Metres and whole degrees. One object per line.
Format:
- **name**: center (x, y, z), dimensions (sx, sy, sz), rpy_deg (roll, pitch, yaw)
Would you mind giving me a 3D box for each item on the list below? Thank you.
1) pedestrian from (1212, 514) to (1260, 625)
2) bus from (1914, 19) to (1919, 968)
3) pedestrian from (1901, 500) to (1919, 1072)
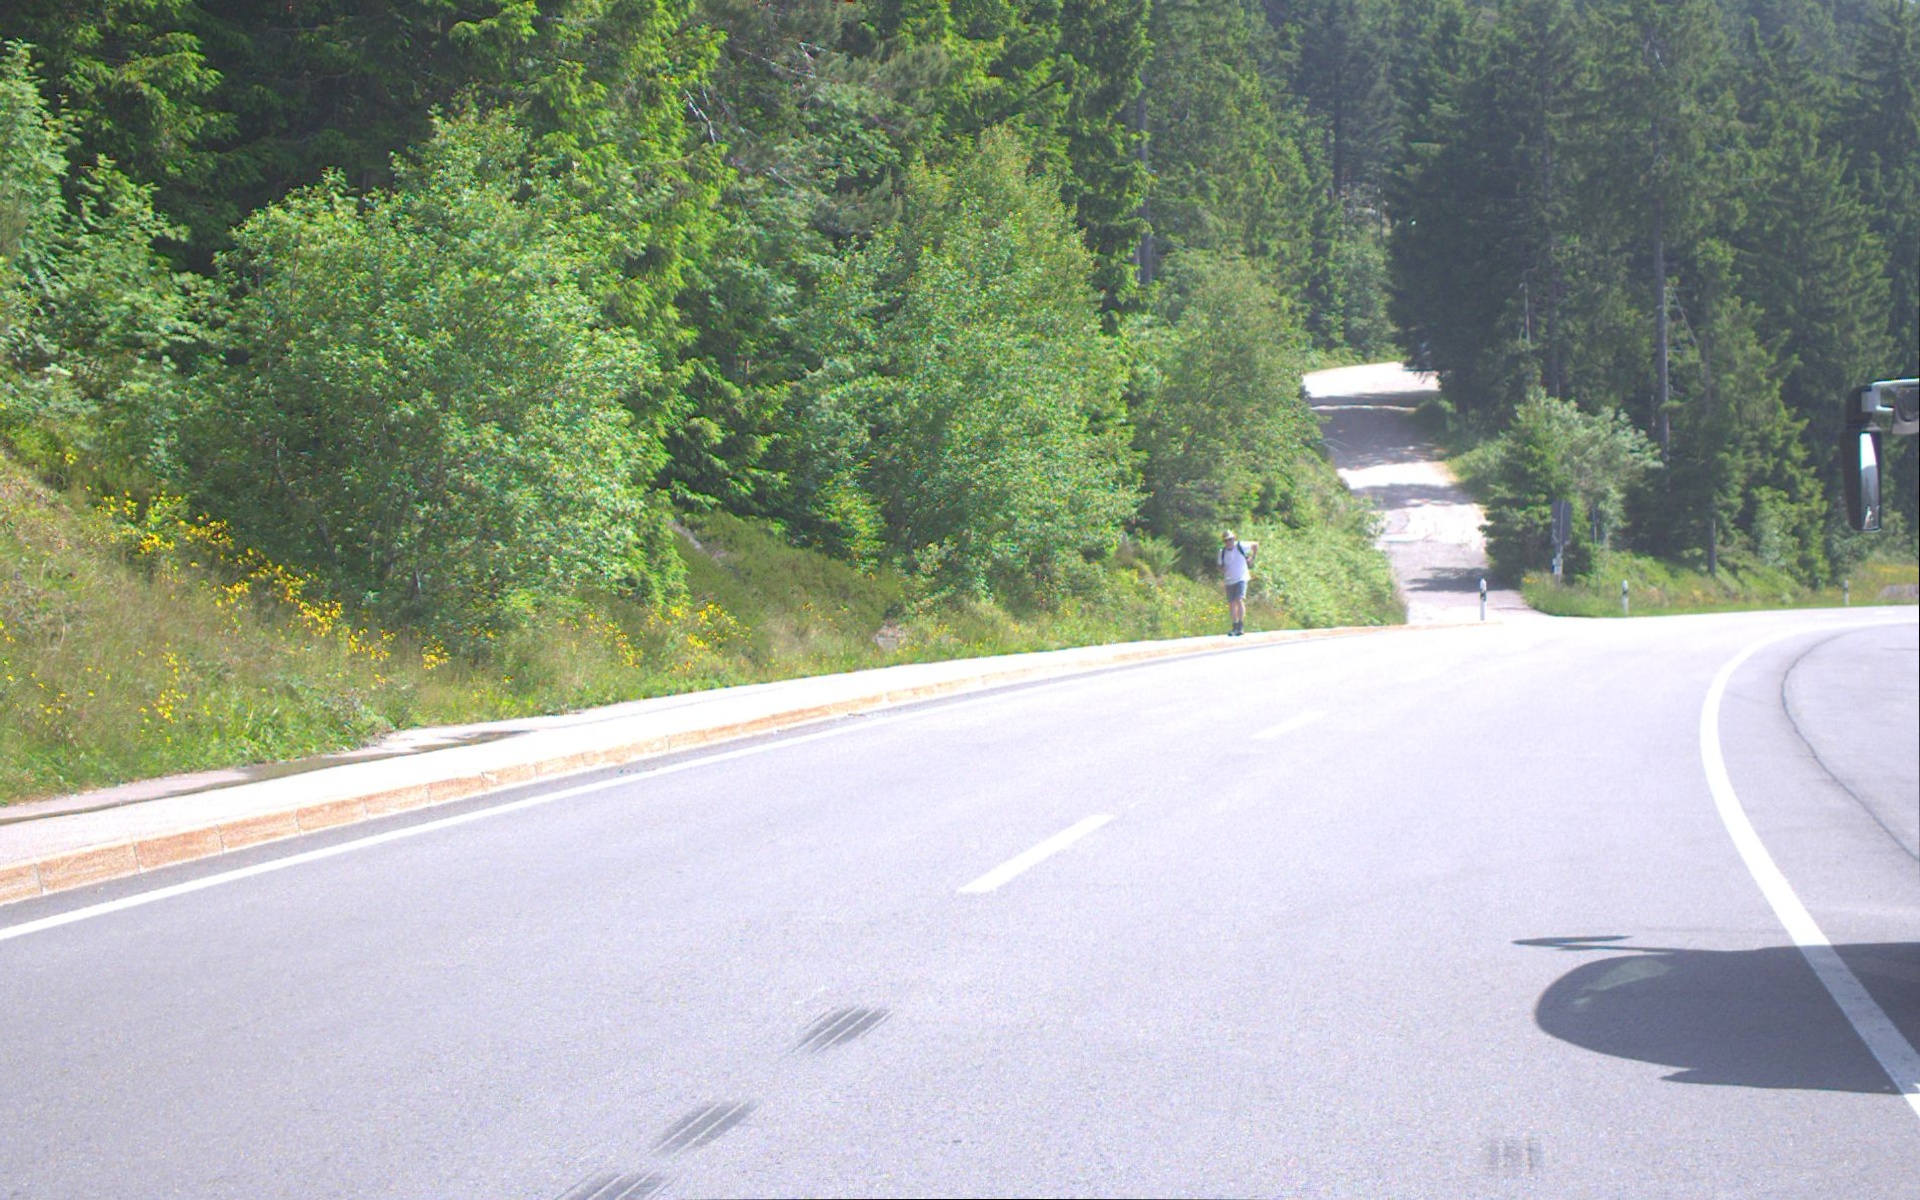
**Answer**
- **pedestrian**: center (4.396, -0.494, 54.673), dimensions (0.682, 1.740, 0.825), rpy_deg (1, 1, 9)
- **bus**: center (9.645, -0.423, 10.604), dimensions (12.855, 3.565, 2.837), rpy_deg (0, 1, 15)
- **pedestrian**: center (3.149, 0.522, 10.085), dimensions (0.707, 1.637, 0.744), rpy_deg (0, 1, 18)
